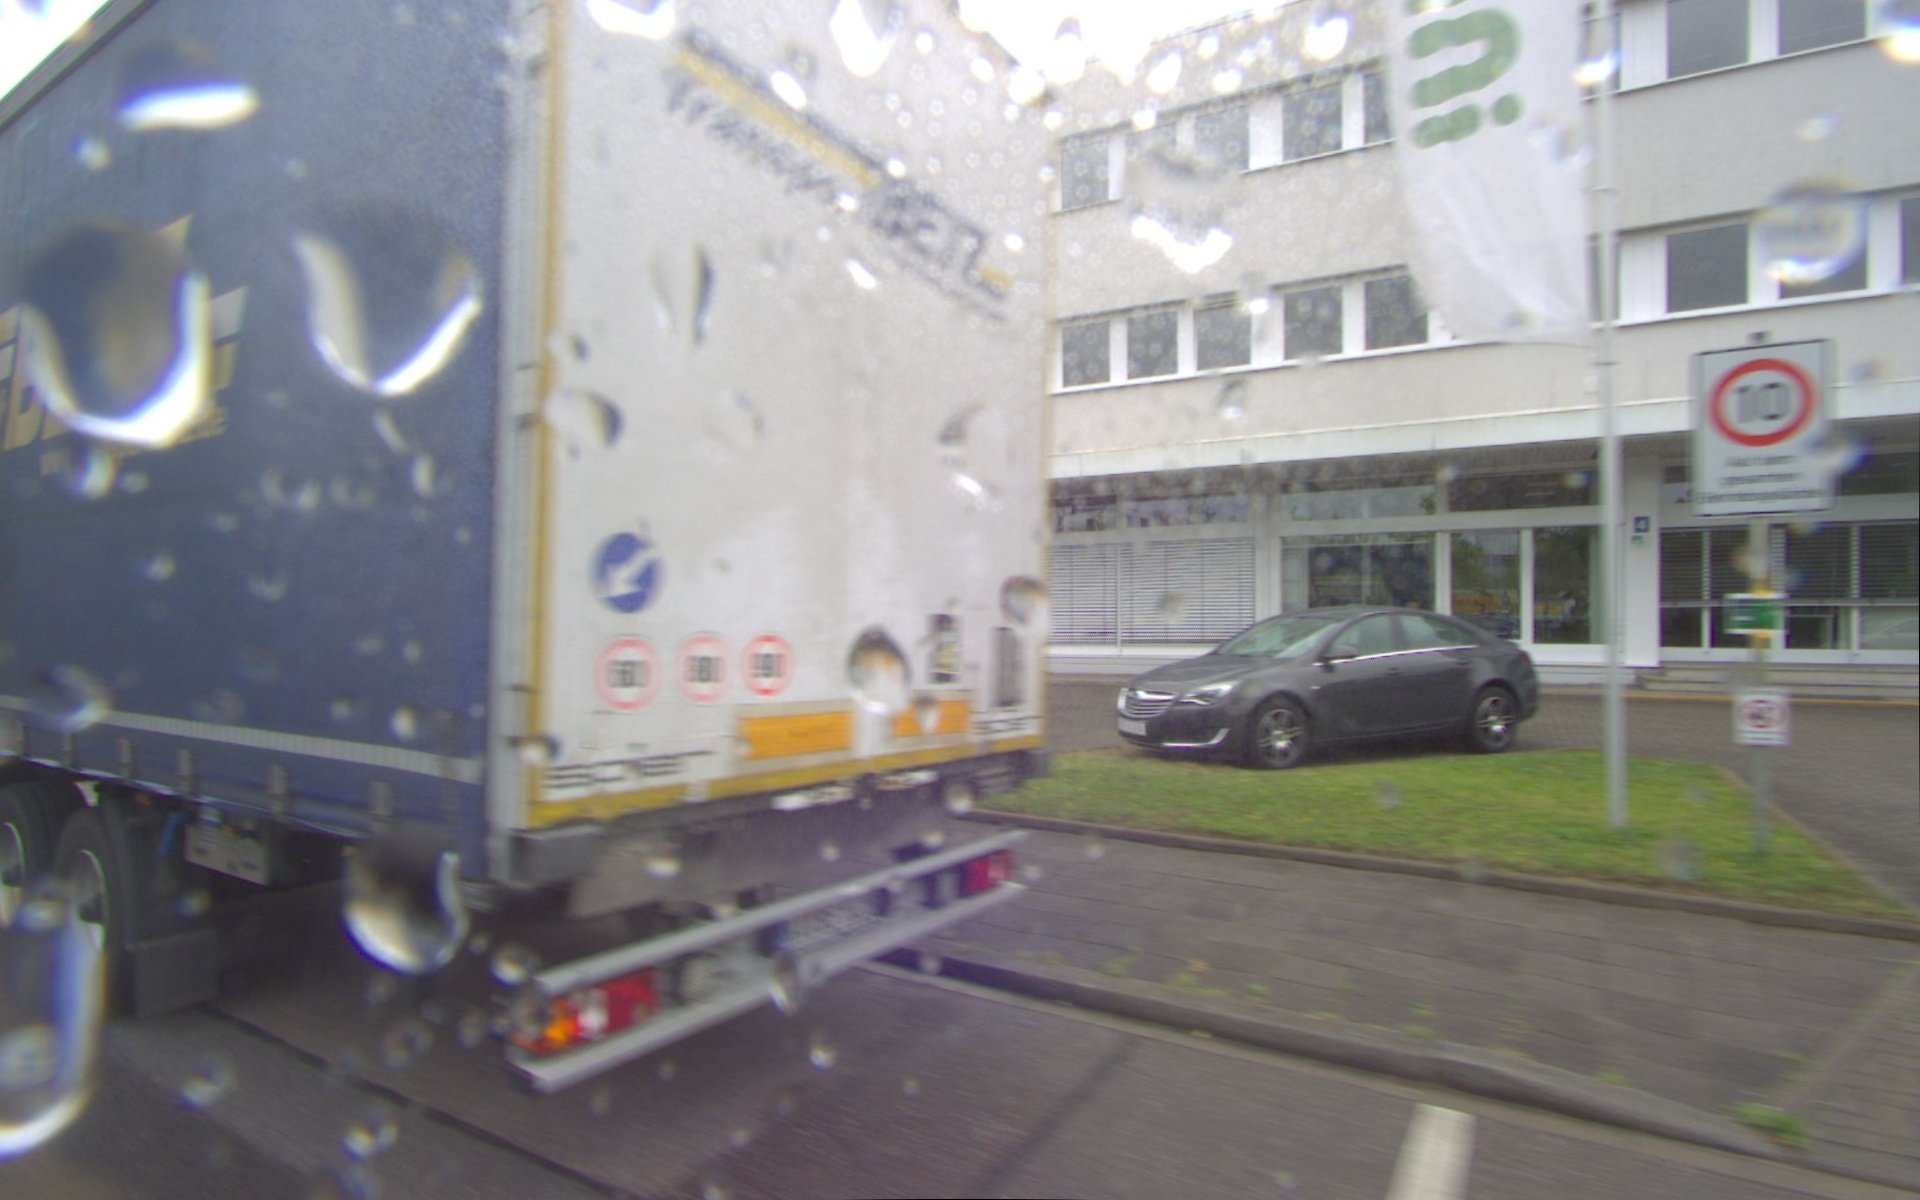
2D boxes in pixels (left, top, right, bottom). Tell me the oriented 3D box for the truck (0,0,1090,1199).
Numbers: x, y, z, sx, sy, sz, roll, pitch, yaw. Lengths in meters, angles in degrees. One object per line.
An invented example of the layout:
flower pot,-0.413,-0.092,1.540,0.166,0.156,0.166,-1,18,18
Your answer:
truck,-3.378,-0.380,5.311,7.640,3.656,2.737,-1,-3,33

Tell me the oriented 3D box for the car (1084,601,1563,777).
car,3.710,0.766,10.178,4.599,1.487,1.786,0,0,-23
